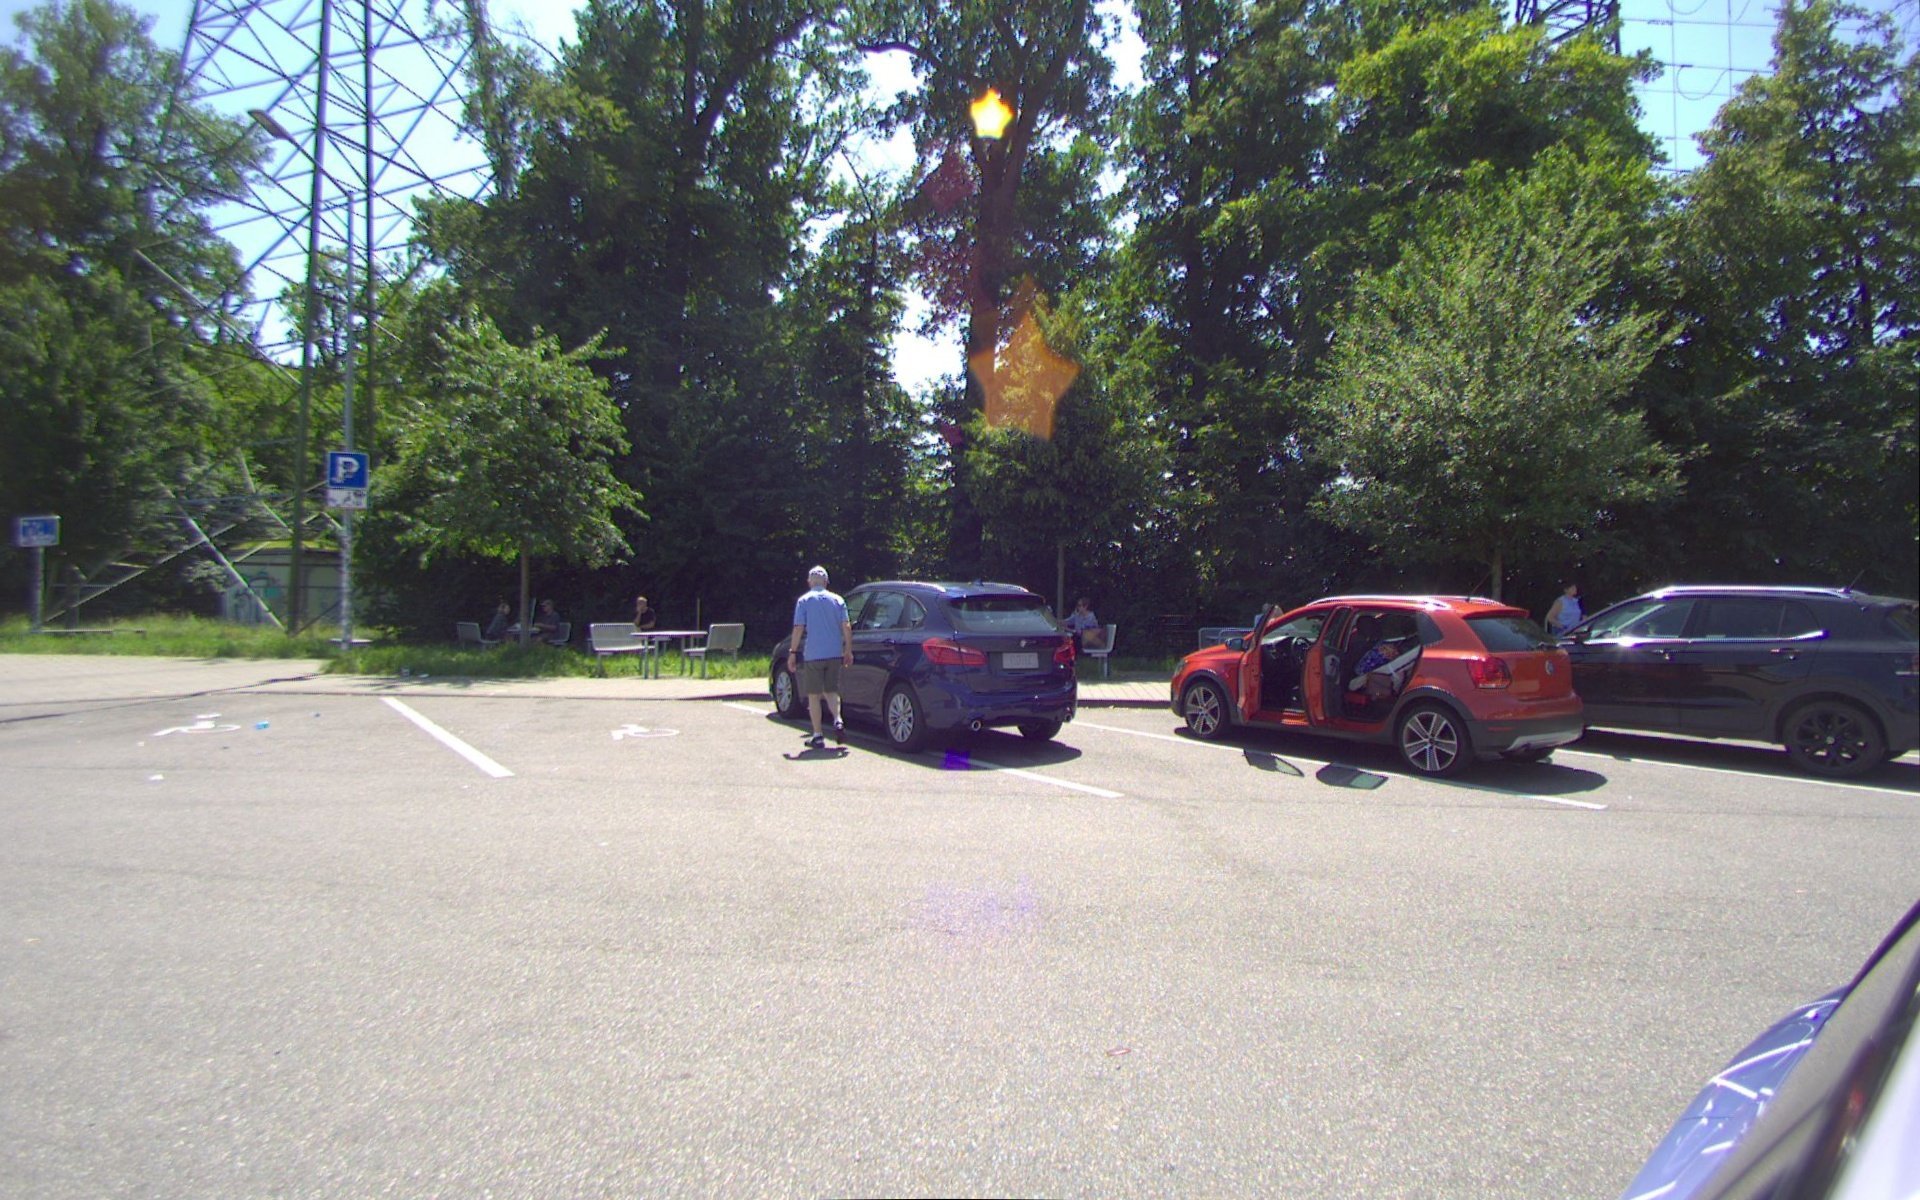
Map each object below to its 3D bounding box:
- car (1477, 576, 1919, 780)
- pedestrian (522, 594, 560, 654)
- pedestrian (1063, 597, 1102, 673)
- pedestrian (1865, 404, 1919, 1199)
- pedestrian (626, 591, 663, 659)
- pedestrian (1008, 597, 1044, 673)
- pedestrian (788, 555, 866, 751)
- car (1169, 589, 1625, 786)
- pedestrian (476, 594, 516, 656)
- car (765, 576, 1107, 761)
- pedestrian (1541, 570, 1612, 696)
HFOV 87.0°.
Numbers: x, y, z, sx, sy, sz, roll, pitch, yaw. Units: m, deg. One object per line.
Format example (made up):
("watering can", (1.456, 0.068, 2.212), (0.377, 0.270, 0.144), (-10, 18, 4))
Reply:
("car", (7.257, 0.596, 9.714), (1.707, 1.607, 3.732), (1, 0, -39))
("pedestrian", (-9.721, 0.541, 23.488), (0.687, 1.352, 0.563), (0, 0, -40))
("pedestrian", (2.054, 0.579, 17.022), (0.576, 1.251, 0.697), (0, -1, 1))
("pedestrian", (2.199, 0.547, 1.654), (0.856, 1.857, 0.853), (0, 0, 27))
("pedestrian", (-6.649, 0.518, 21.326), (0.553, 1.408, 0.700), (0, 0, 2))
("pedestrian", (1.107, 0.584, 17.089), (0.576, 1.251, 0.697), (0, -1, 1))
("pedestrian", (-1.226, 0.473, 9.482), (0.662, 1.754, 0.834), (0, 0, -4))
("car", (3.891, 0.645, 9.600), (1.559, 1.467, 3.737), (1, 0, -33))
("pedestrian", (-10.478, 0.552, 22.849), (0.687, 1.352, 0.563), (0, 0, -40))
("car", (-0.446, 0.557, 10.674), (1.776, 1.562, 3.940), (1, 0, -34))
("pedestrian", (9.293, 0.481, 15.264), (0.749, 1.854, 0.522), (0, 0, -15))
